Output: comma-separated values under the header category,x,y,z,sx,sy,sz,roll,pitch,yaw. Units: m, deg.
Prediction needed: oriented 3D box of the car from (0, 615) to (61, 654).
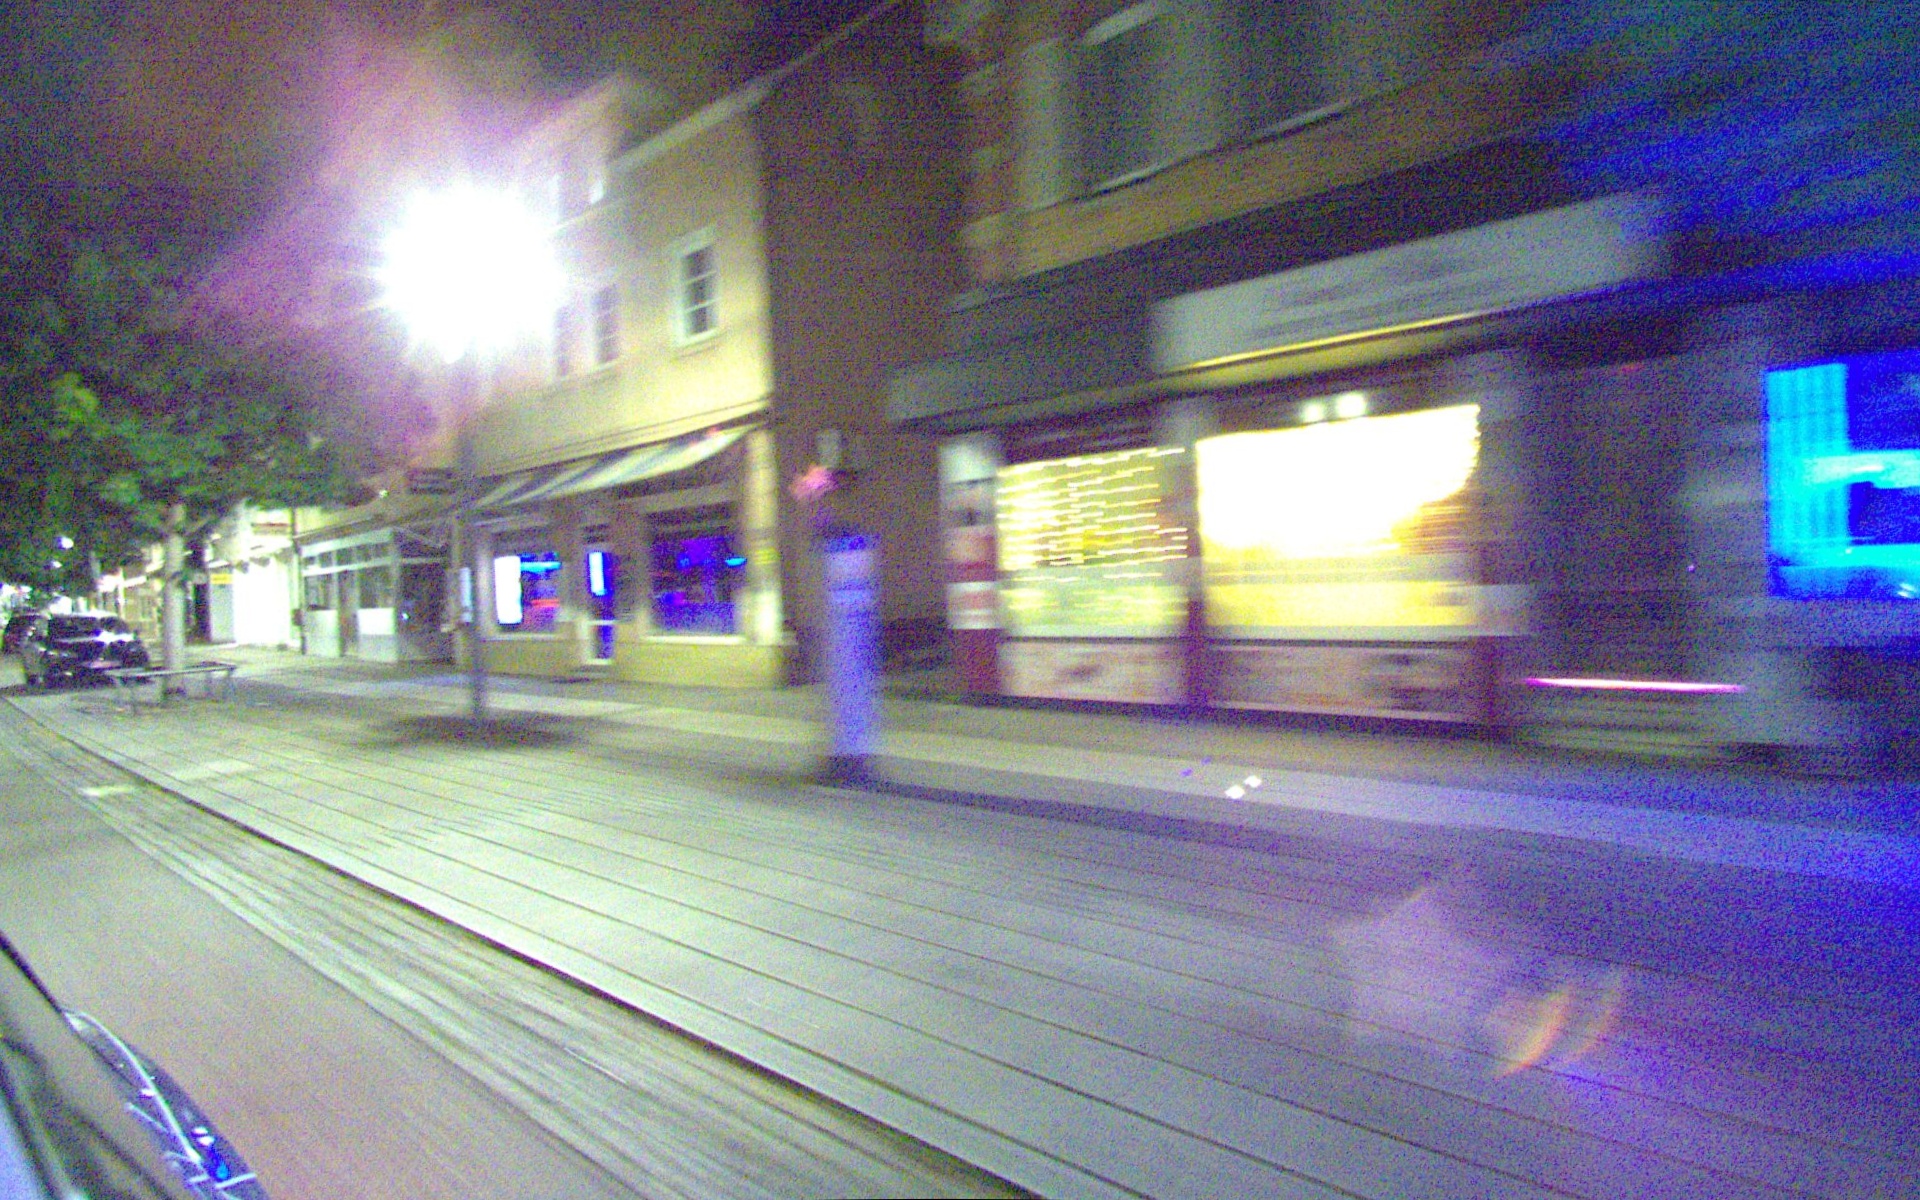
category,x,y,z,sx,sy,sz,roll,pitch,yaw
car,-38.243,1.392,41.539,1.811,1.478,4.003,-2,1,-44

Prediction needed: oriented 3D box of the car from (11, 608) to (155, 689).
category,x,y,z,sx,sy,sz,roll,pitch,yaw
car,-19.035,1.002,21.912,3.998,1.516,1.773,-1,1,41
